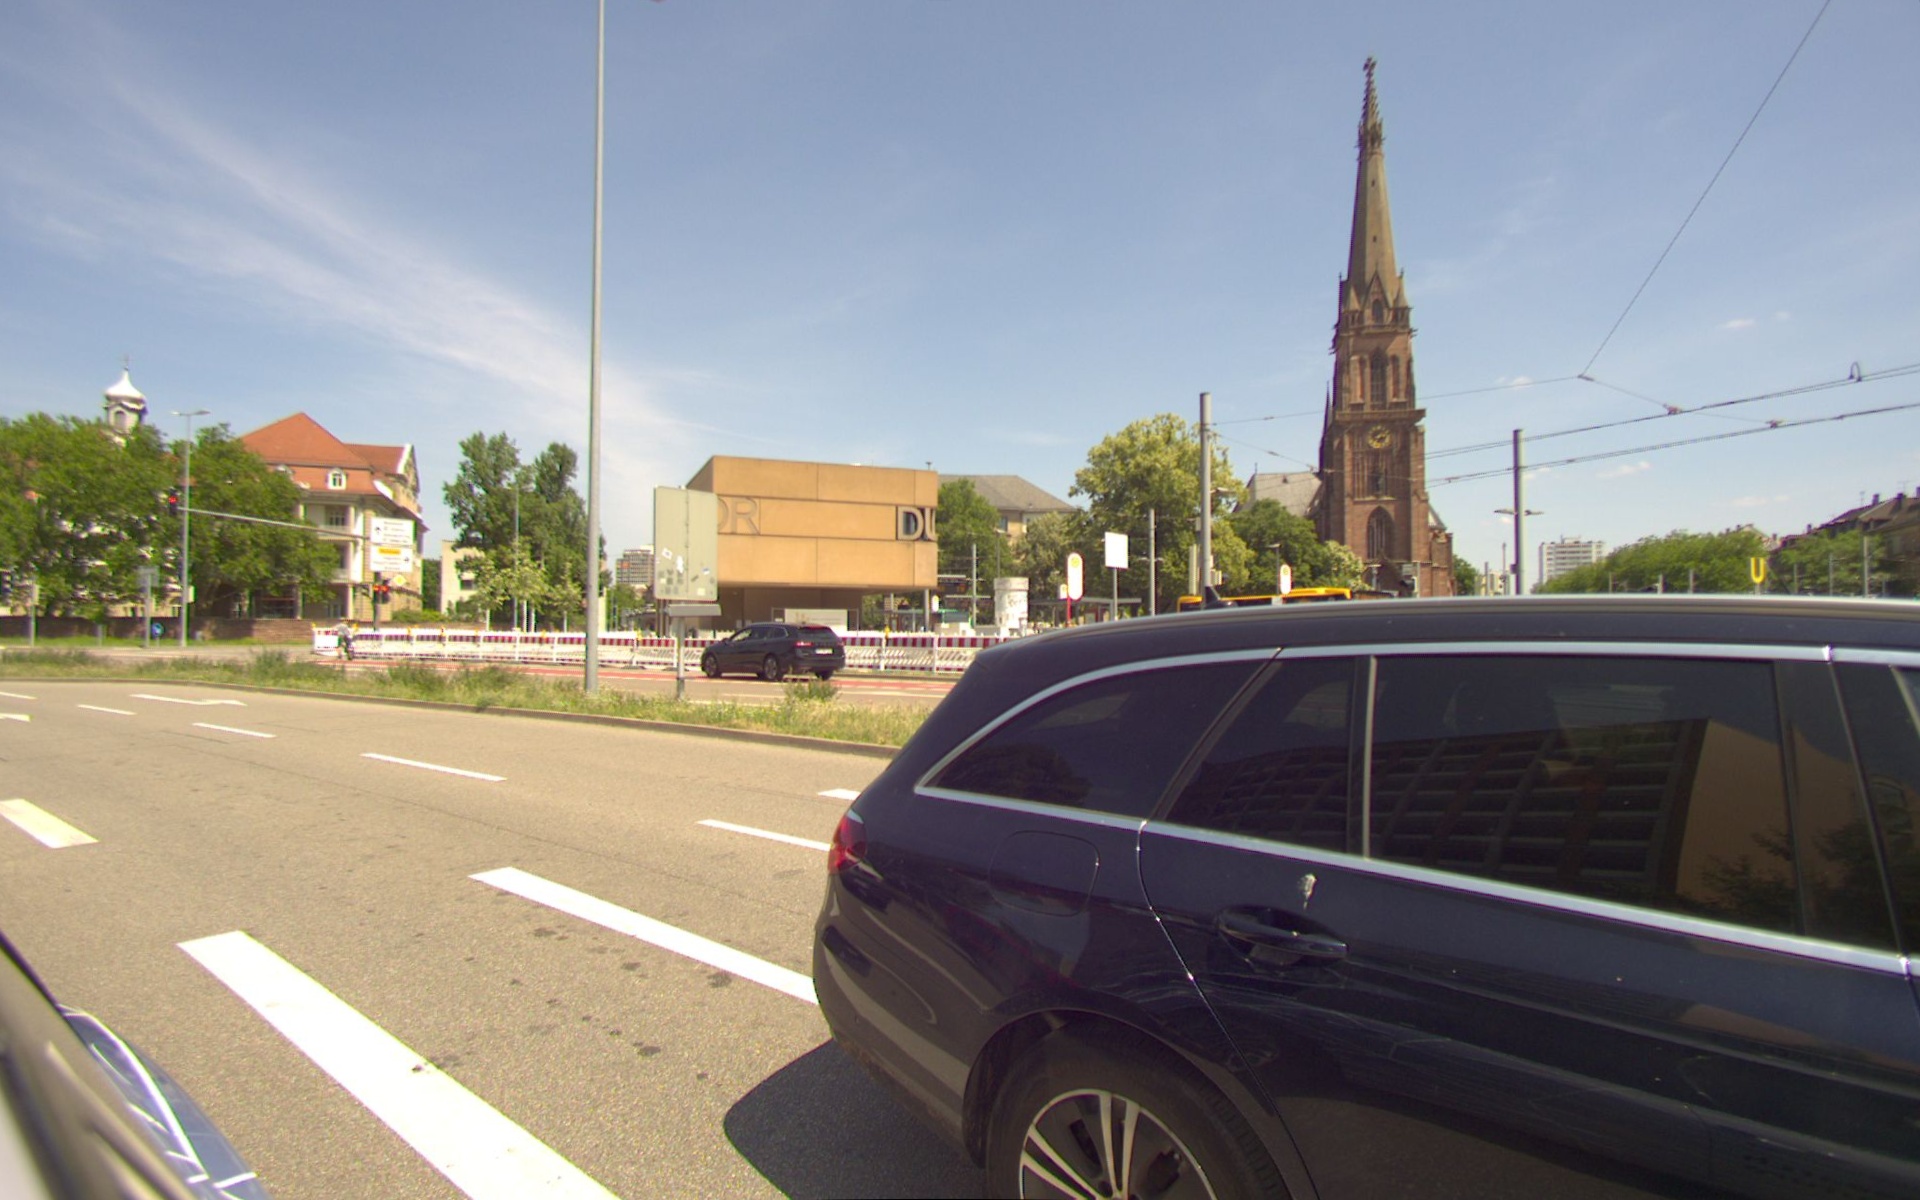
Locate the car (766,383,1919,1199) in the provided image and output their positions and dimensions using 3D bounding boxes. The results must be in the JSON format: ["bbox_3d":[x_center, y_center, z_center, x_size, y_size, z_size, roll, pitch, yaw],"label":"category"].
[{"bbox_3d":[1.910,0.582,1.500,4.803,1.653,1.778,-2,-1,42],"label":"car"}]

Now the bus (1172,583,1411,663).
[{"bbox_3d":[14.099,1.081,44.906,2.807,3.039,12.259,1,-2,-22],"label":"bus"}]

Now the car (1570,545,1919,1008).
[{"bbox_3d":[4.493,0.607,3.576,3.736,1.588,1.725,-2,-3,42],"label":"car"}]

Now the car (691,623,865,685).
[{"bbox_3d":[-4.833,1.368,26.427,4.846,1.476,1.972,-2,-3,43],"label":"car"}]

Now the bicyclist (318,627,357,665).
[{"bbox_3d":[-23.339,1.719,37.951,1.432,1.366,0.581,-1,0,26],"label":"bicyclist"}]

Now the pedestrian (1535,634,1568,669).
[{"bbox_3d":[22.955,1.997,39.264,0.518,1.344,1.001,1,-2,-17],"label":"pedestrian"}]

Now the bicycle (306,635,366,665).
[{"bbox_3d":[-23.406,1.856,37.936,2.220,1.080,0.871,-1,0,26],"label":"bicycle"}]
